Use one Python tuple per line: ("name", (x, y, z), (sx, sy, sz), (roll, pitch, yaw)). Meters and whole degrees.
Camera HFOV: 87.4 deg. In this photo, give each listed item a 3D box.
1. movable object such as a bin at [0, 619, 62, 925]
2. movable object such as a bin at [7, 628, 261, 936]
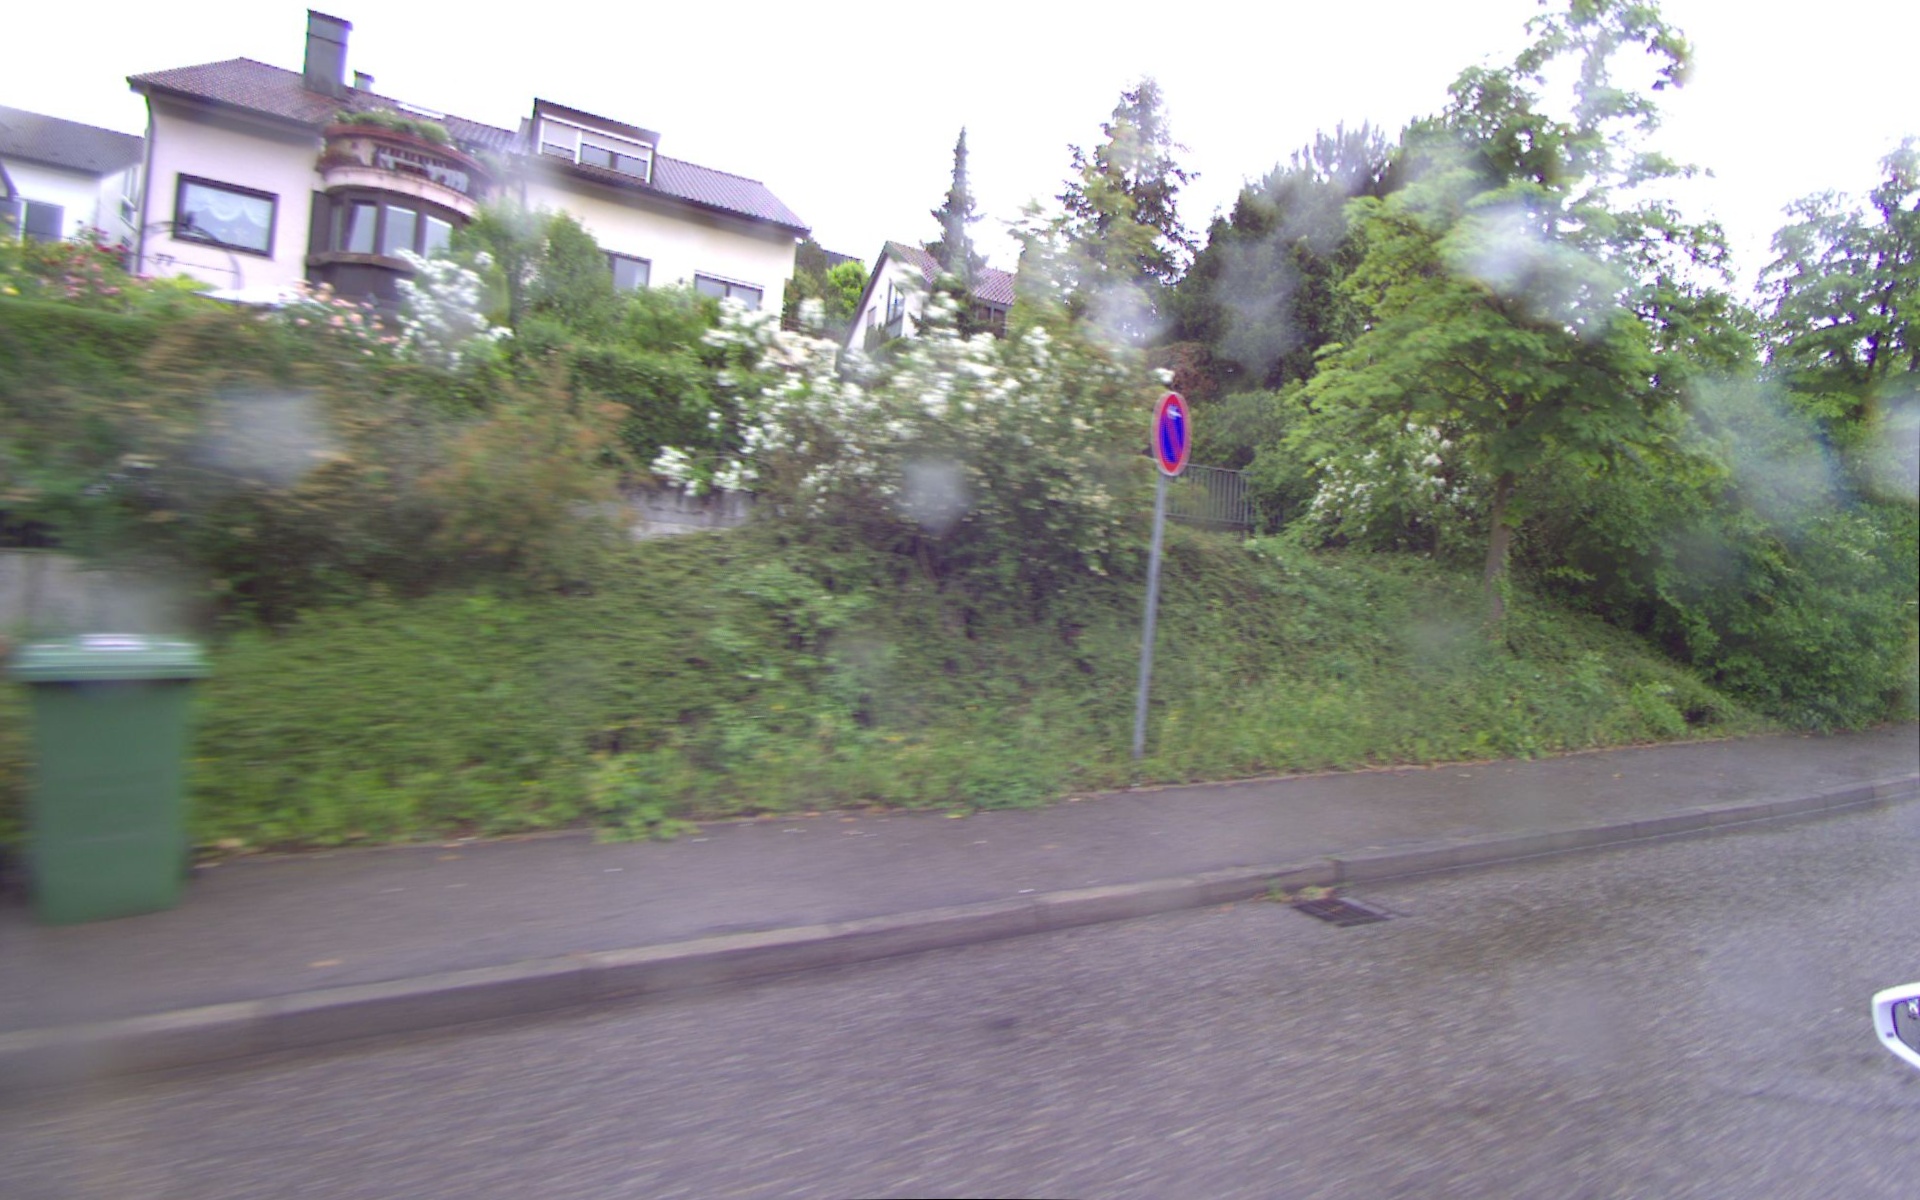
("movable object such as a bin", (-3.991, 0.630, 3.852), (0.664, 1.111, 0.764), (2, -1, -32))
("movable object such as a bin", (-3.311, 0.669, 4.105), (0.683, 1.082, 0.764), (2, -1, -32))
